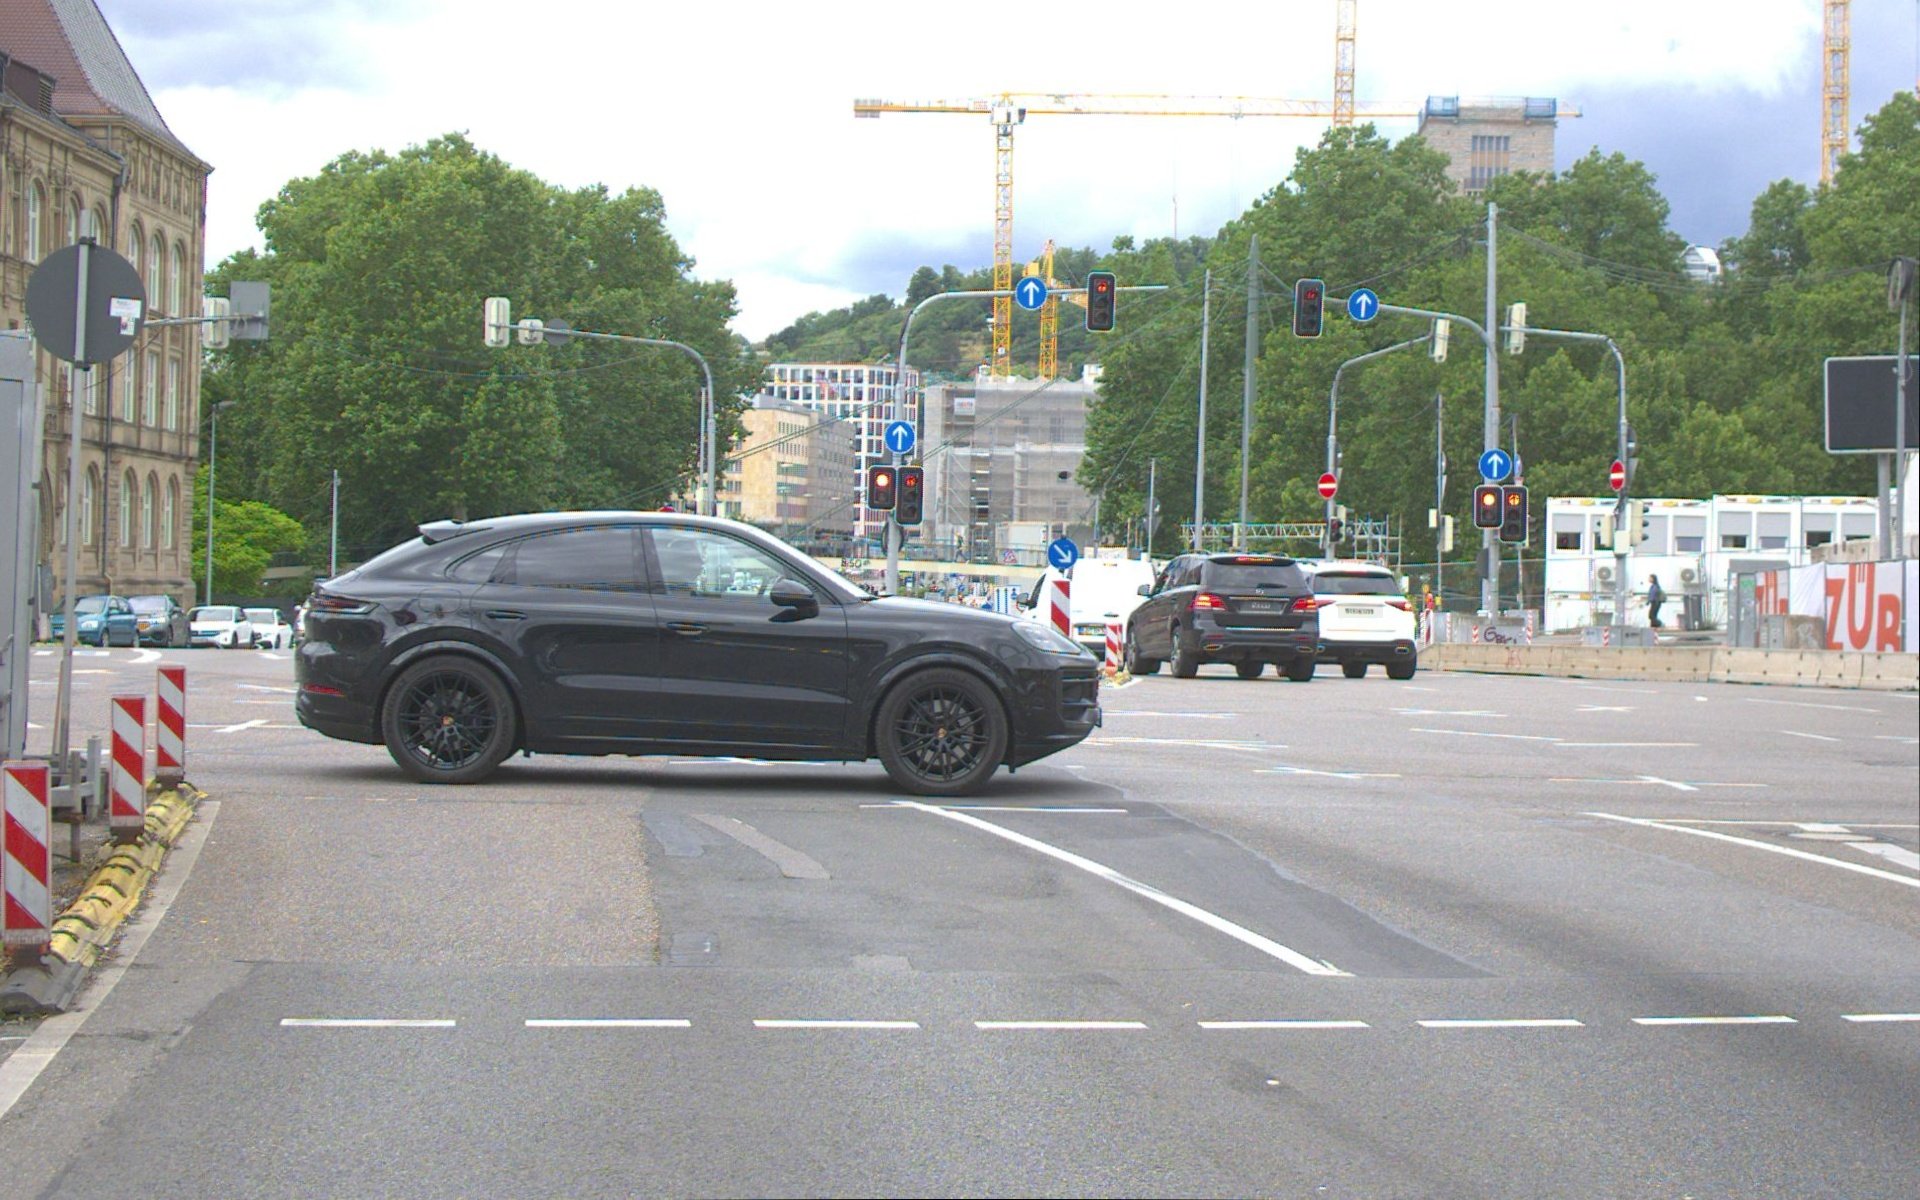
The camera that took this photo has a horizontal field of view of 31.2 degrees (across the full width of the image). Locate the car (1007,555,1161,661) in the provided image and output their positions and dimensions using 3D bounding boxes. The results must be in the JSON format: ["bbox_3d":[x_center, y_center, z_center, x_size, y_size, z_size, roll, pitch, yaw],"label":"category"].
[{"bbox_3d":[1.959,0.104,55.535,1.816,1.619,4.001,1,1,-8],"label":"car"}]

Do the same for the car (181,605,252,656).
[{"bbox_3d":[-21.904,0.891,101.392,1.675,1.393,3.684,1,1,-7],"label":"car"}]

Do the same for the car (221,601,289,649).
[{"bbox_3d":[-22.018,0.791,107.430,1.675,1.393,3.683,1,-2,-6],"label":"car"}]

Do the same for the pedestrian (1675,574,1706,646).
[{"bbox_3d":[17.838,0.236,83.906,0.526,1.742,0.468,1,1,-24],"label":"pedestrian"}]

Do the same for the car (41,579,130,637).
[{"bbox_3d":[-21.982,0.195,86.498,1.675,1.393,3.684,1,1,-7],"label":"car"}]

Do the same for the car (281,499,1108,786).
[{"bbox_3d":[-1.624,0.248,21.123,4.807,1.619,2.021,1,0,-6],"label":"car"}]

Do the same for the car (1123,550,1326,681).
[{"bbox_3d":[3.668,0.188,48.488,1.831,1.740,4.257,1,1,-10],"label":"car"}]

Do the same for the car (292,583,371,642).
[{"bbox_3d":[-15.632,0.293,85.638,1.675,1.393,3.684,1,1,-7],"label":"car"}]

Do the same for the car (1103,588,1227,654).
[{"bbox_3d":[4.514,0.457,75.996,1.675,1.393,3.087,1,1,-19],"label":"car"}]

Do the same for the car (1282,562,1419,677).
[{"bbox_3d":[5.994,0.272,53.054,1.676,1.696,3.374,1,1,-1],"label":"car"}]

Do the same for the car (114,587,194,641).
[{"bbox_3d":[-21.761,0.364,92.929,1.675,1.393,3.684,1,1,-7],"label":"car"}]
